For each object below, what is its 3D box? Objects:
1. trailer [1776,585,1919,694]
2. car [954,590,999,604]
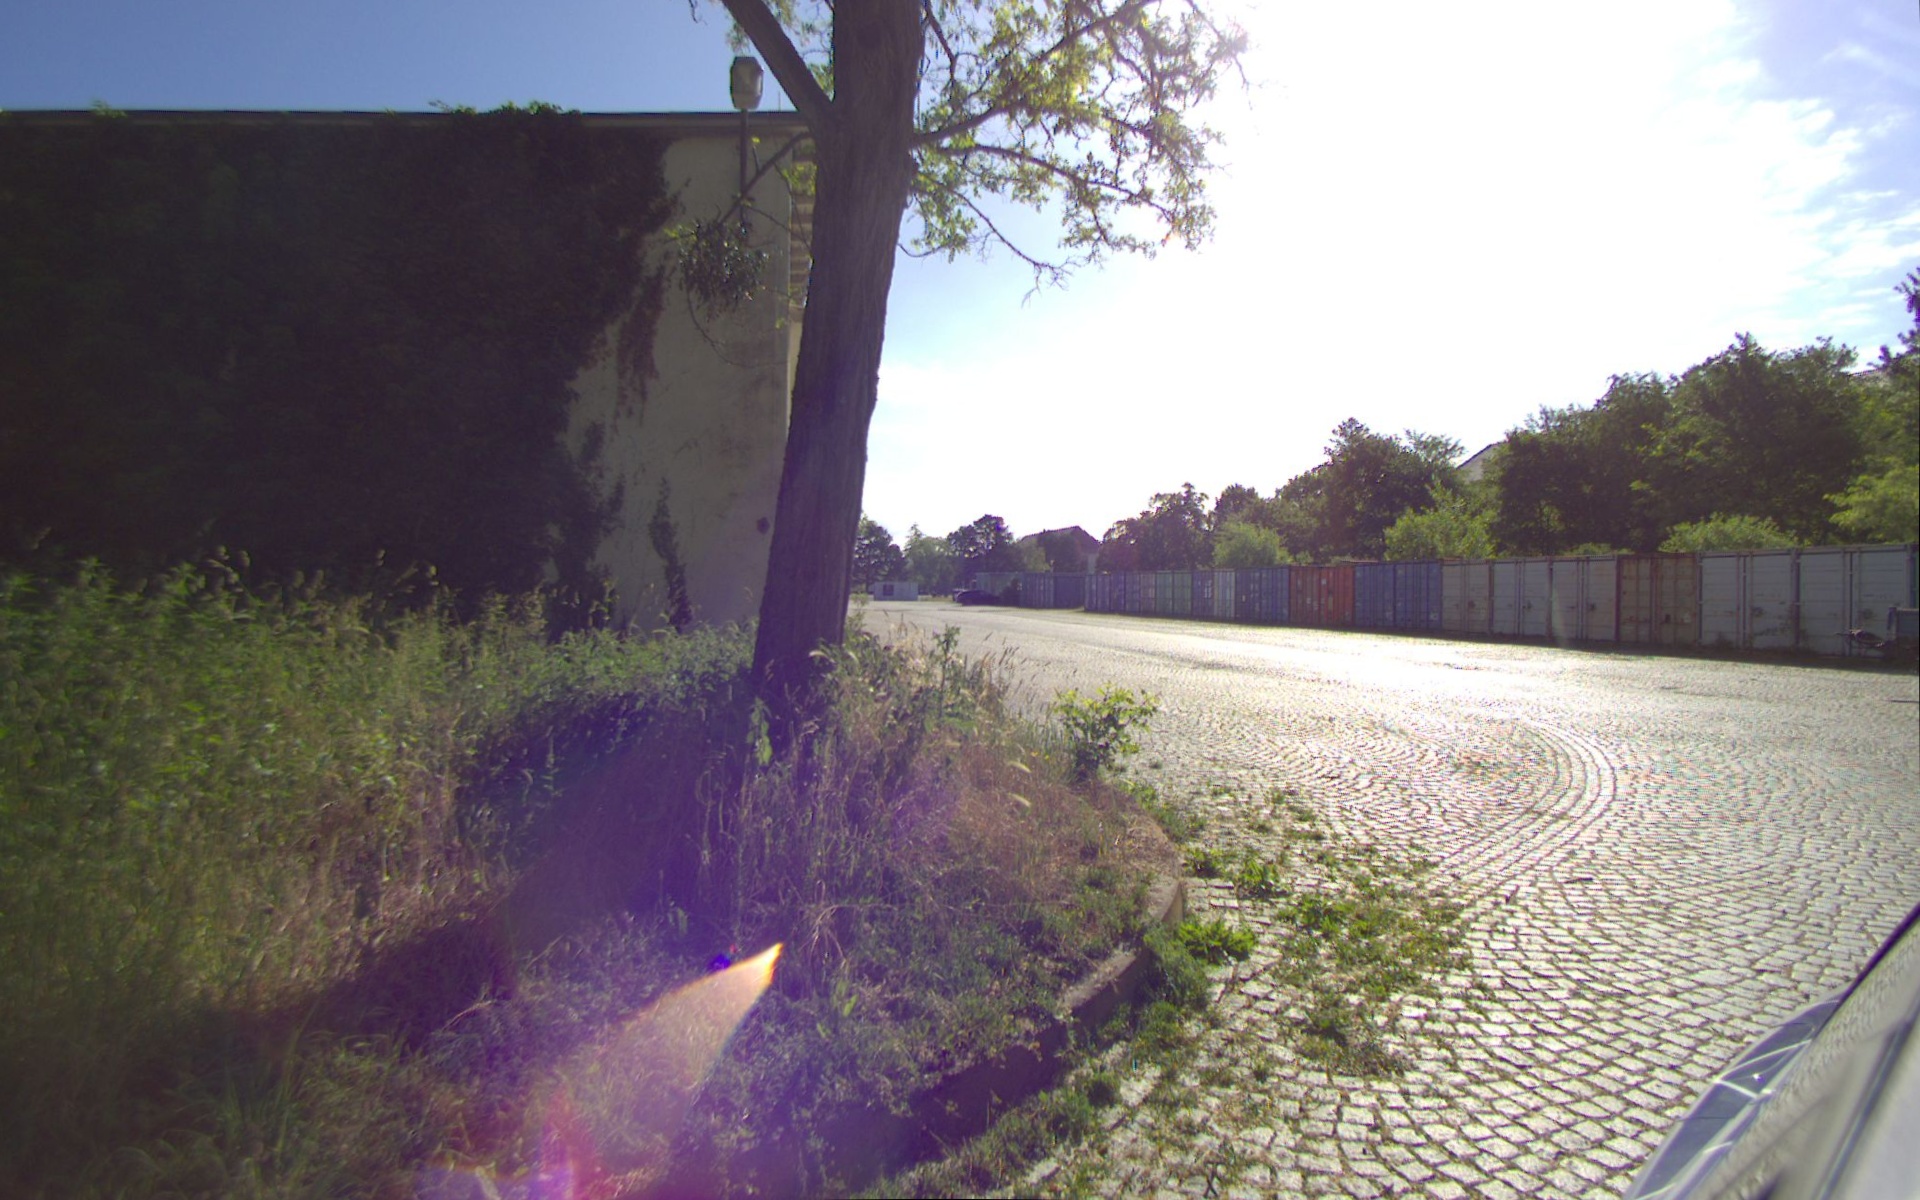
[{"bbox_3d":[15.339,0.555,13.592,2.796,1.537,6.504,-1,0,-12],"label":"trailer"},{"bbox_3d":[1.499,-0.285,92.154,3.796,1.282,1.593,0,0,-14],"label":"car"}]
